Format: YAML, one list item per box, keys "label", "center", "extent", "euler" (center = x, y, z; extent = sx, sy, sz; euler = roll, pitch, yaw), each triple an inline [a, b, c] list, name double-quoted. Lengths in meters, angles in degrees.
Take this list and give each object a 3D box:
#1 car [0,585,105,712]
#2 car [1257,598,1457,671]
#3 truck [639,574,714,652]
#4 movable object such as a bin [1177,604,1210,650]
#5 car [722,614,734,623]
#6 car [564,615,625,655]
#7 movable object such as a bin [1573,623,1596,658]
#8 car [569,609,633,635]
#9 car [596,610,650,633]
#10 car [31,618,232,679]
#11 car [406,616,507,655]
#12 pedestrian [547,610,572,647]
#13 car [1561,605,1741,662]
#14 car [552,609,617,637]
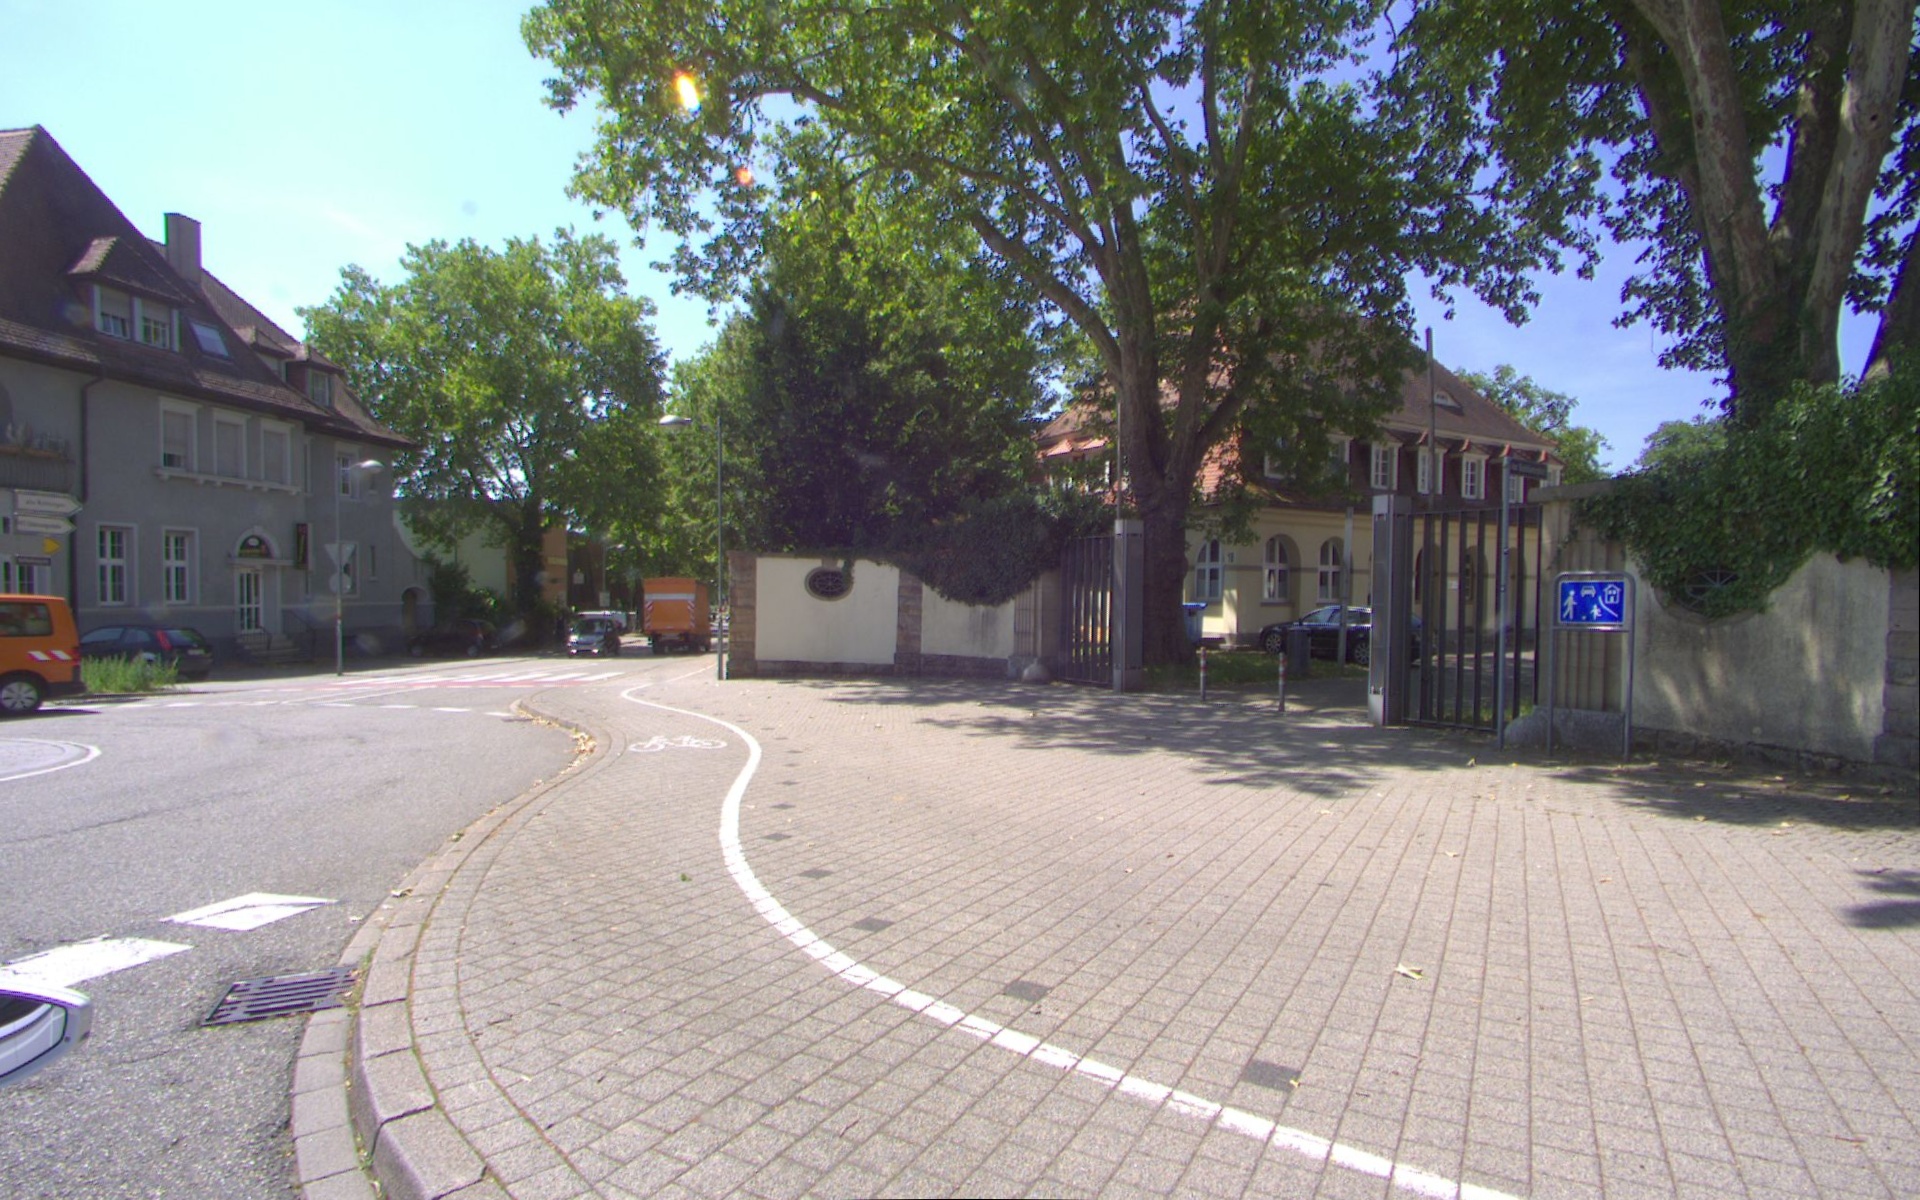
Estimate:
- label: "car"
  center: [-16.443, 0.739, 15.139]
  extent: [1.920, 1.985, 5.001]
  euler: [0, -1, 29]
- label: "car"
  center: [10.141, 0.816, 25.940]
  extent: [1.972, 1.423, 4.472]
  euler: [0, 4, -31]
- label: "truck"
  center: [-12.346, 0.638, 44.075]
  extent: [2.333, 3.173, 5.769]
  euler: [0, -2, -7]
- label: "movable object such as a bin"
  center: [6.759, 0.778, 29.038]
  extent: [0.661, 1.314, 0.672]
  euler: [0, 0, -41]
- label: "car"
  center: [-37.577, 2.994, 162.141]
  extent: [1.741, 1.445, 4.390]
  euler: [0, -1, -11]
- label: "car"
  center: [-14.617, 1.390, 40.124]
  extent: [1.539, 1.550, 2.789]
  euler: [0, -1, -3]
- label: "movable object such as a bin"
  center: [18.329, 1.181, 29.394]
  extent: [0.530, 1.021, 0.525]
  euler: [0, 0, 28]
- label: "car"
  center: [-27.504, 1.659, 76.823]
  extent: [4.355, 1.827, 1.902]
  euler: [2, -1, -11]
- label: "car"
  center: [-28.579, 1.822, 84.969]
  extent: [4.065, 1.827, 1.902]
  euler: [2, -1, -10]
- label: "car"
  center: [-20.967, 1.205, 25.436]
  extent: [3.719, 1.479, 1.724]
  euler: [0, -1, 3]
- label: "car"
  center: [-20.725, 1.437, 41.284]
  extent: [3.326, 1.567, 1.724]
  euler: [0, 0, 3]
- label: "pedestrian"
  center: [-19.179, 1.350, 47.969]
  extent: [0.858, 1.765, 1.112]
  euler: [0, 0, -7]
- label: "car"
  center: [22.958, 1.050, 33.445]
  extent: [1.972, 1.423, 4.472]
  euler: [0, 4, -31]
- label: "car"
  center: [-26.144, 1.582, 69.908]
  extent: [3.925, 1.816, 1.867]
  euler: [2, -1, -10]
